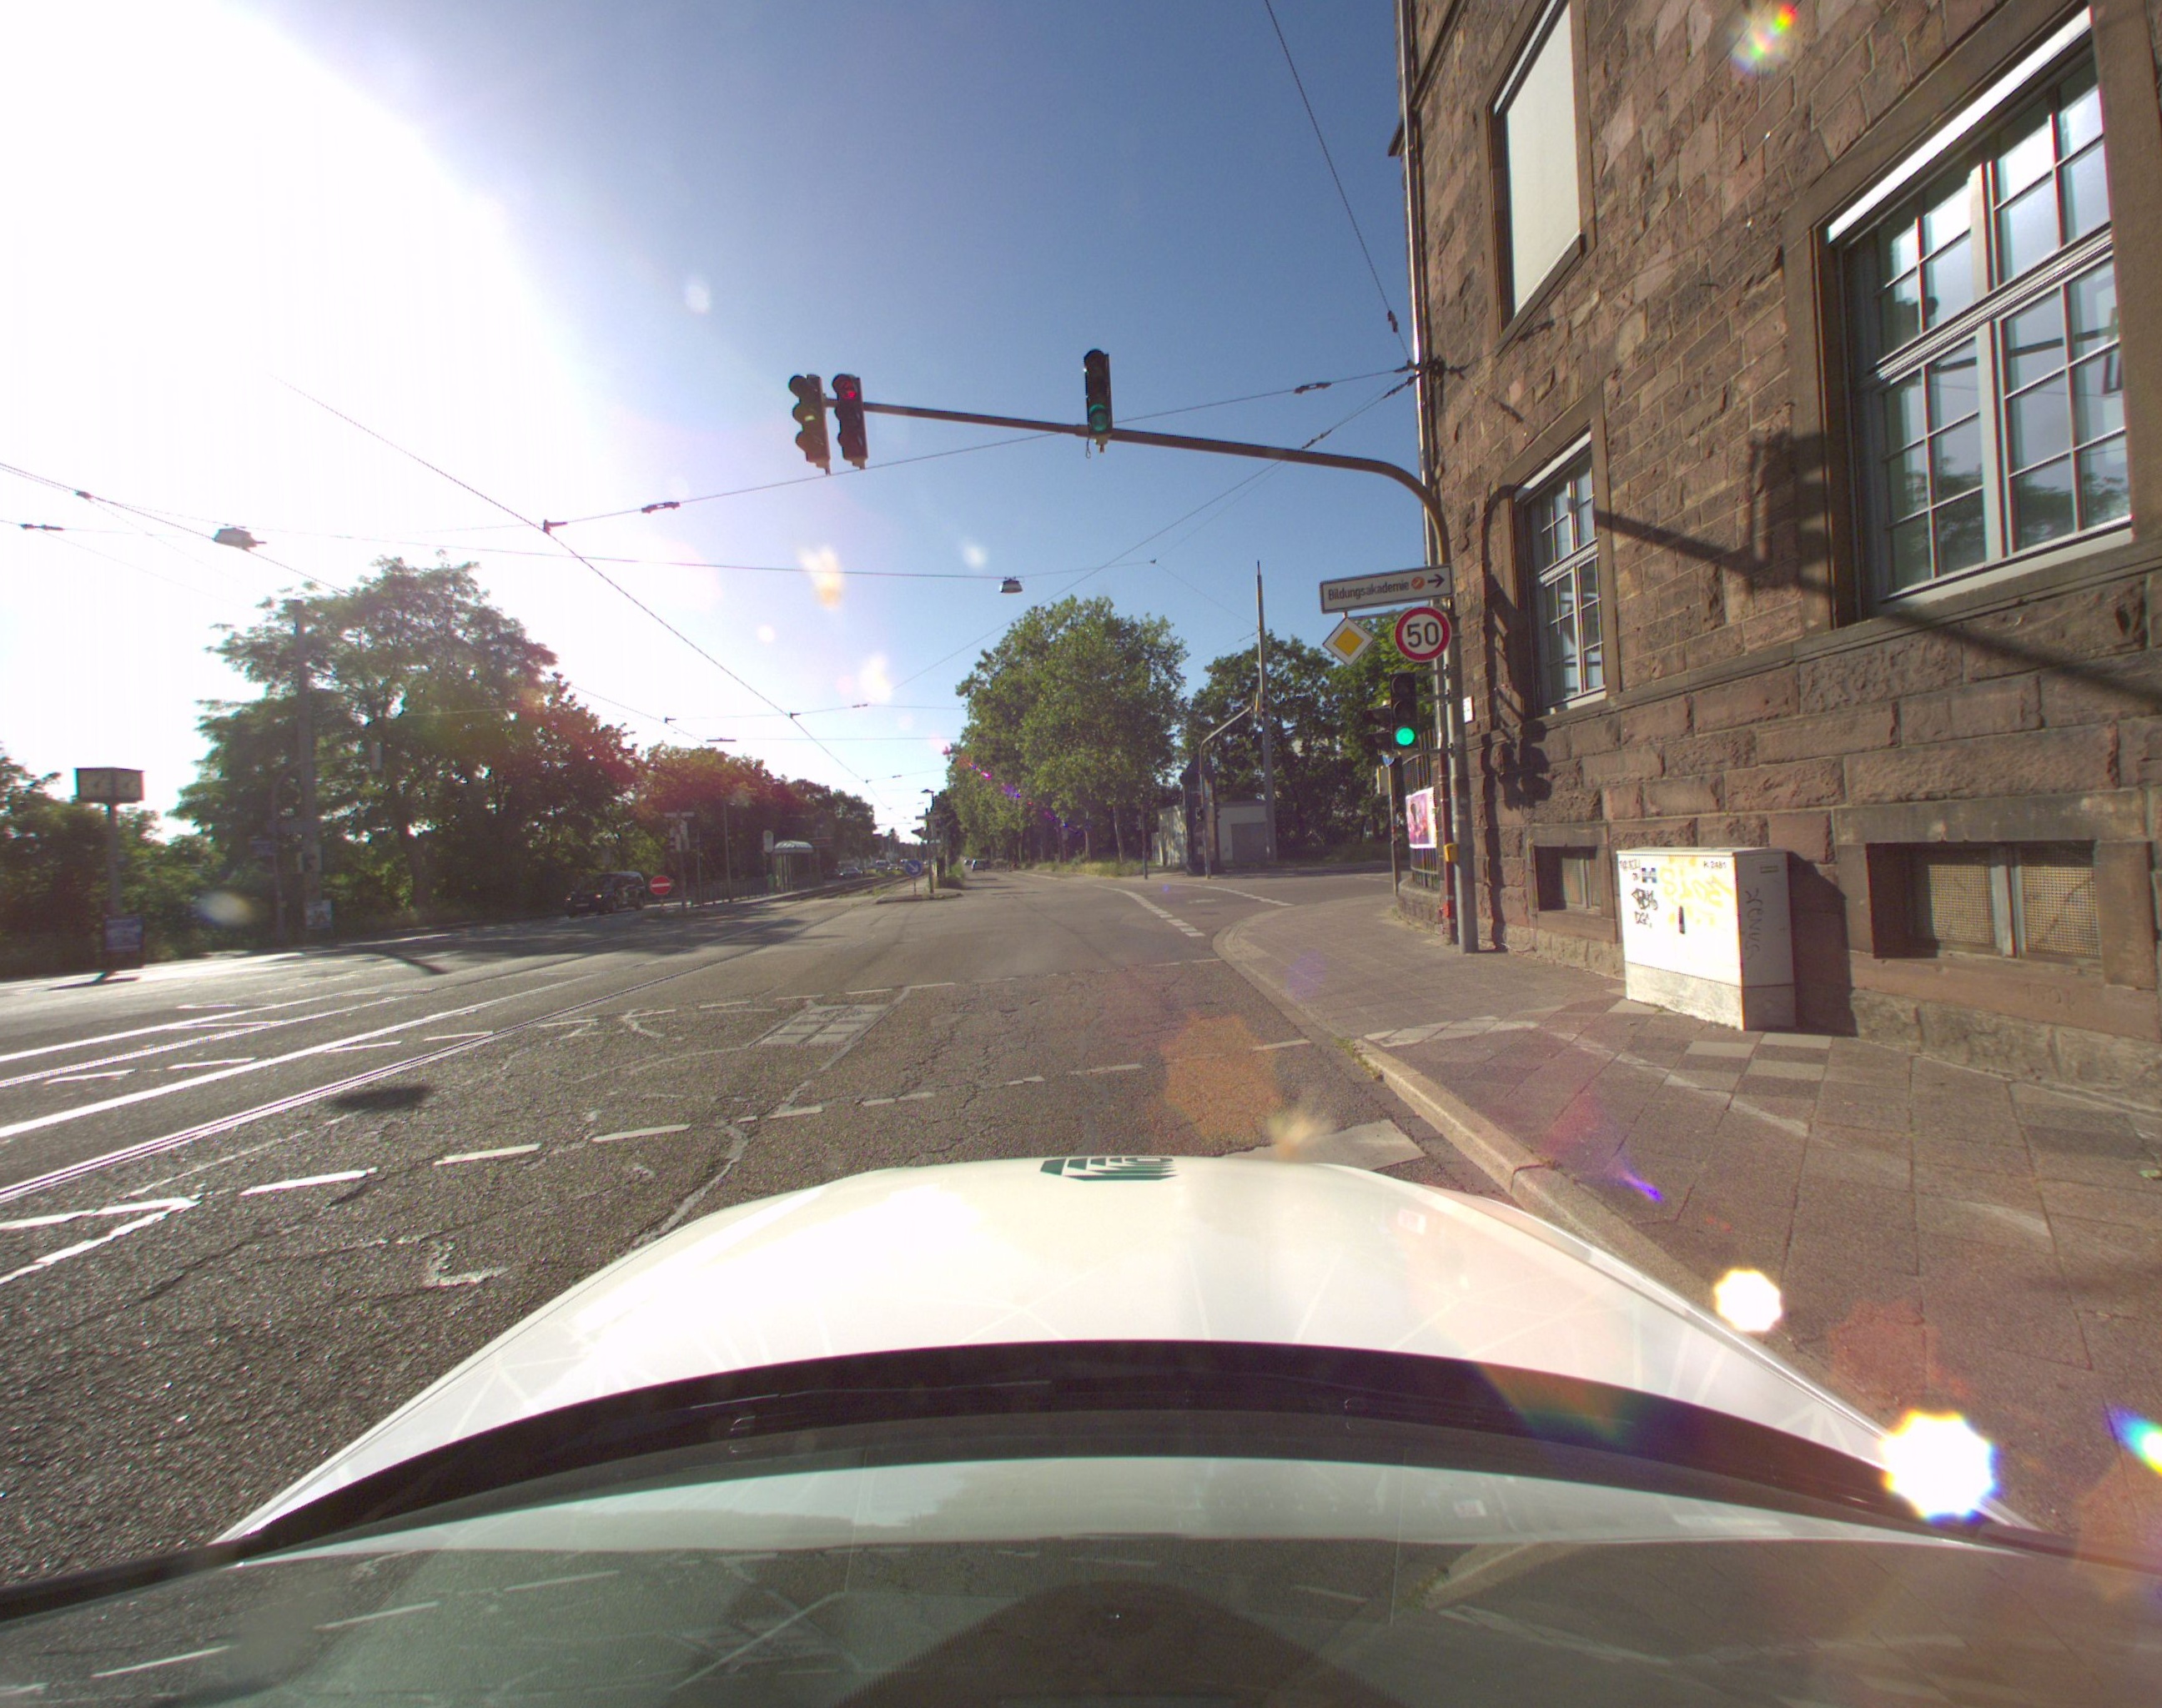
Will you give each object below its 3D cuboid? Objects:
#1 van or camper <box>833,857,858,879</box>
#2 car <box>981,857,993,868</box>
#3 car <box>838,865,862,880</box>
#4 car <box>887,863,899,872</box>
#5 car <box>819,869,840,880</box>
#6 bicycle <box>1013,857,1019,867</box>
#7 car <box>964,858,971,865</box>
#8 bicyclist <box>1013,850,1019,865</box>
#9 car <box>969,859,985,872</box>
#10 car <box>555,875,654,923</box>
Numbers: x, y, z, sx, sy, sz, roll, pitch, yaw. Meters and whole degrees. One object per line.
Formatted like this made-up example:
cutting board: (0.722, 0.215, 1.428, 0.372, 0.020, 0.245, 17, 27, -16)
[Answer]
van or camper: (-35.768, 2.083, 124.027, 2.589, 3.106, 6.768, -4, 0, -9)
car: (-14.653, 1.319, 126.656, 1.750, 1.604, 3.739, -3, 0, -8)
car: (-26.538, 2.147, 93.677, 1.919, 1.567, 3.990, -4, 0, -7)
car: (-35.578, 2.558, 154.115, 1.994, 1.469, 4.361, -3, 0, -10)
car: (-34.385, 2.820, 111.465, 1.919, 1.266, 3.990, -4, 0, -7)
bicycle: (-7.564, 0.931, 94.599, 0.536, 1.066, 1.428, -4, 0, -10)
car: (-30.600, 1.972, 220.201, 1.750, 1.604, 3.569, -4, 0, -9)
bicyclist: (-7.577, 0.411, 94.589, 0.534, 1.769, 0.710, -4, 0, -11)
car: (-13.093, 1.392, 101.963, 1.867, 1.486, 3.545, -3, 0, -8)
car: (-20.637, 1.884, 35.552, 1.993, 1.767, 5.014, -4, -1, -9)
